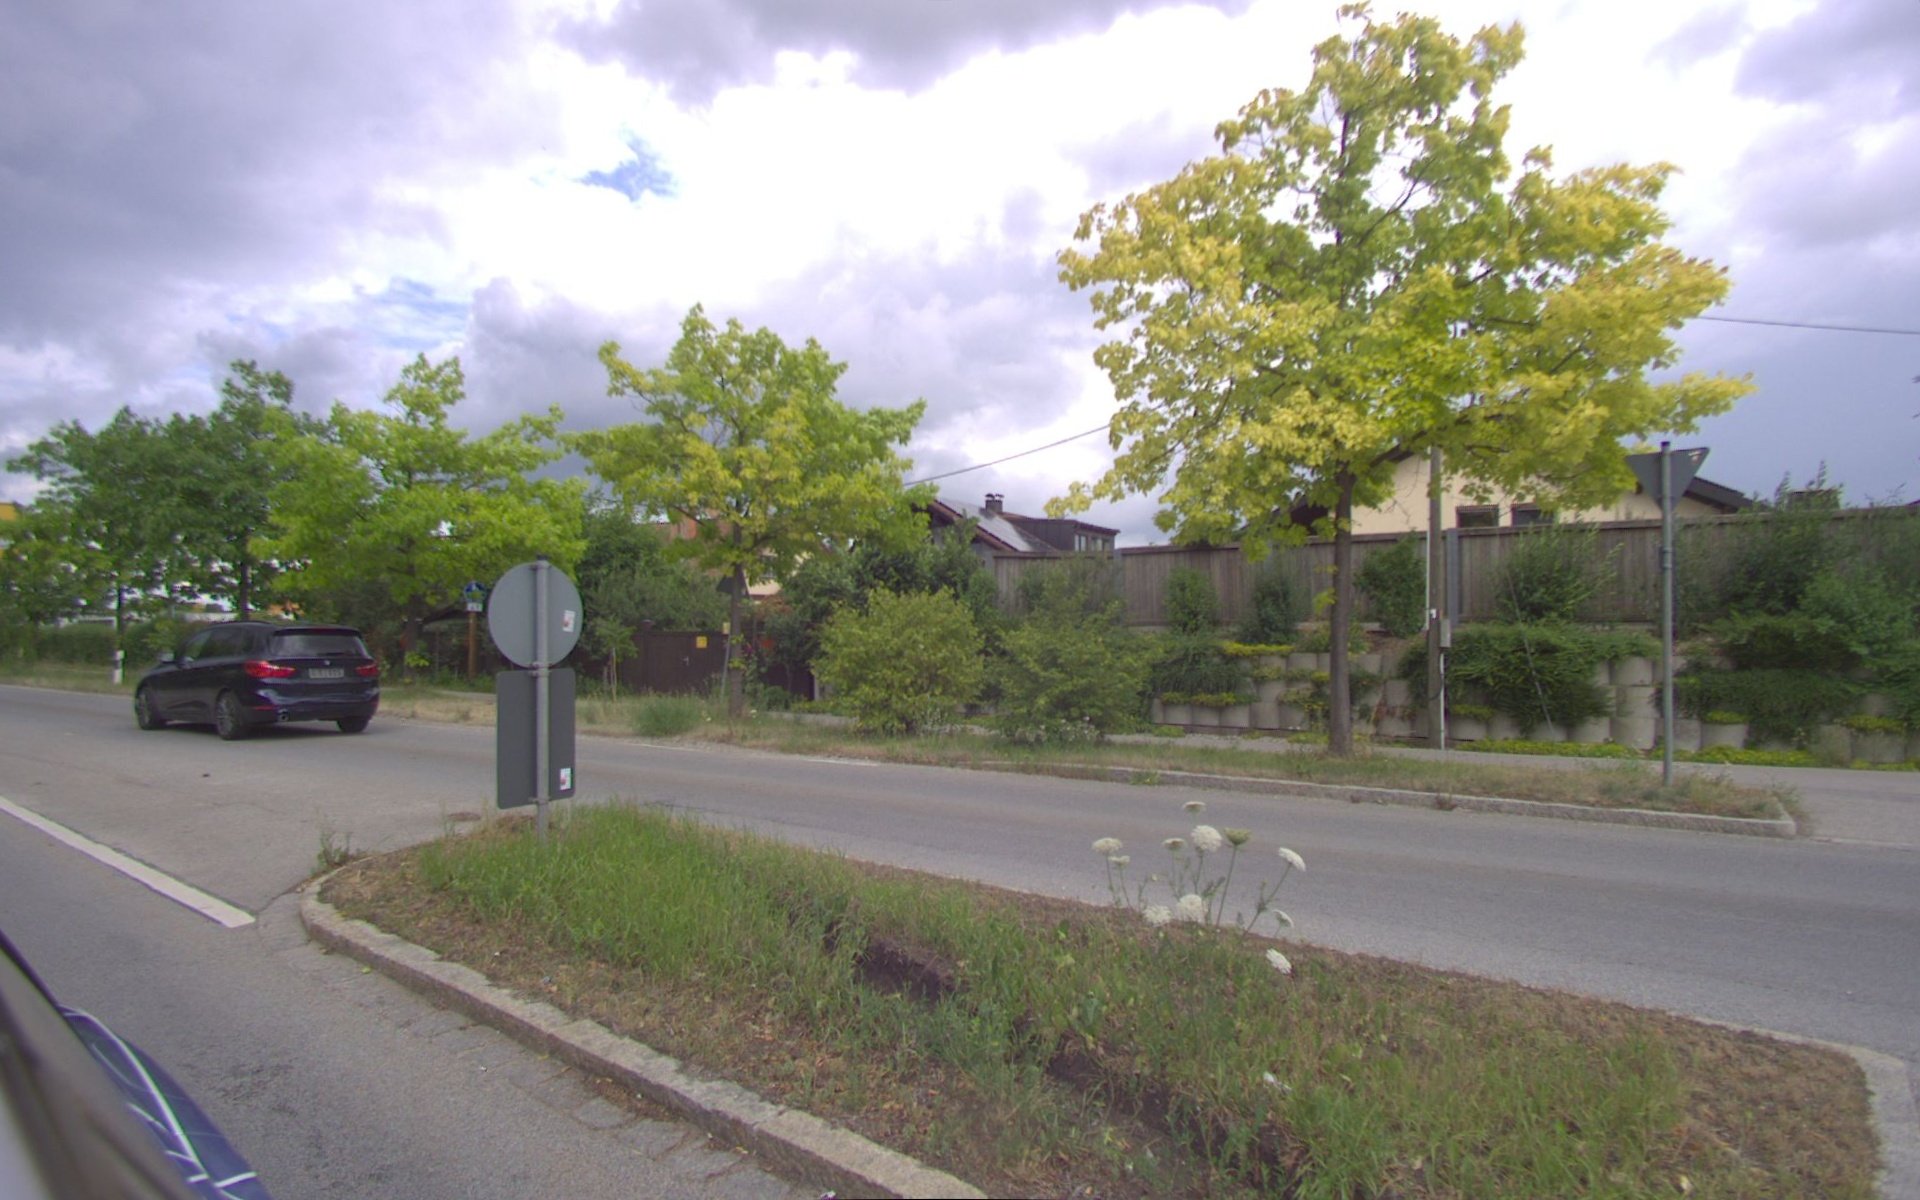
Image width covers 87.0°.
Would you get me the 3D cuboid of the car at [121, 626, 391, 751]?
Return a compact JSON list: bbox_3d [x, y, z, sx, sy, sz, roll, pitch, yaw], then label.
[{"bbox_3d":[-10.394,1.219,14.858,4.342,1.598,1.724,-2,-3,33],"label":"car"}]
